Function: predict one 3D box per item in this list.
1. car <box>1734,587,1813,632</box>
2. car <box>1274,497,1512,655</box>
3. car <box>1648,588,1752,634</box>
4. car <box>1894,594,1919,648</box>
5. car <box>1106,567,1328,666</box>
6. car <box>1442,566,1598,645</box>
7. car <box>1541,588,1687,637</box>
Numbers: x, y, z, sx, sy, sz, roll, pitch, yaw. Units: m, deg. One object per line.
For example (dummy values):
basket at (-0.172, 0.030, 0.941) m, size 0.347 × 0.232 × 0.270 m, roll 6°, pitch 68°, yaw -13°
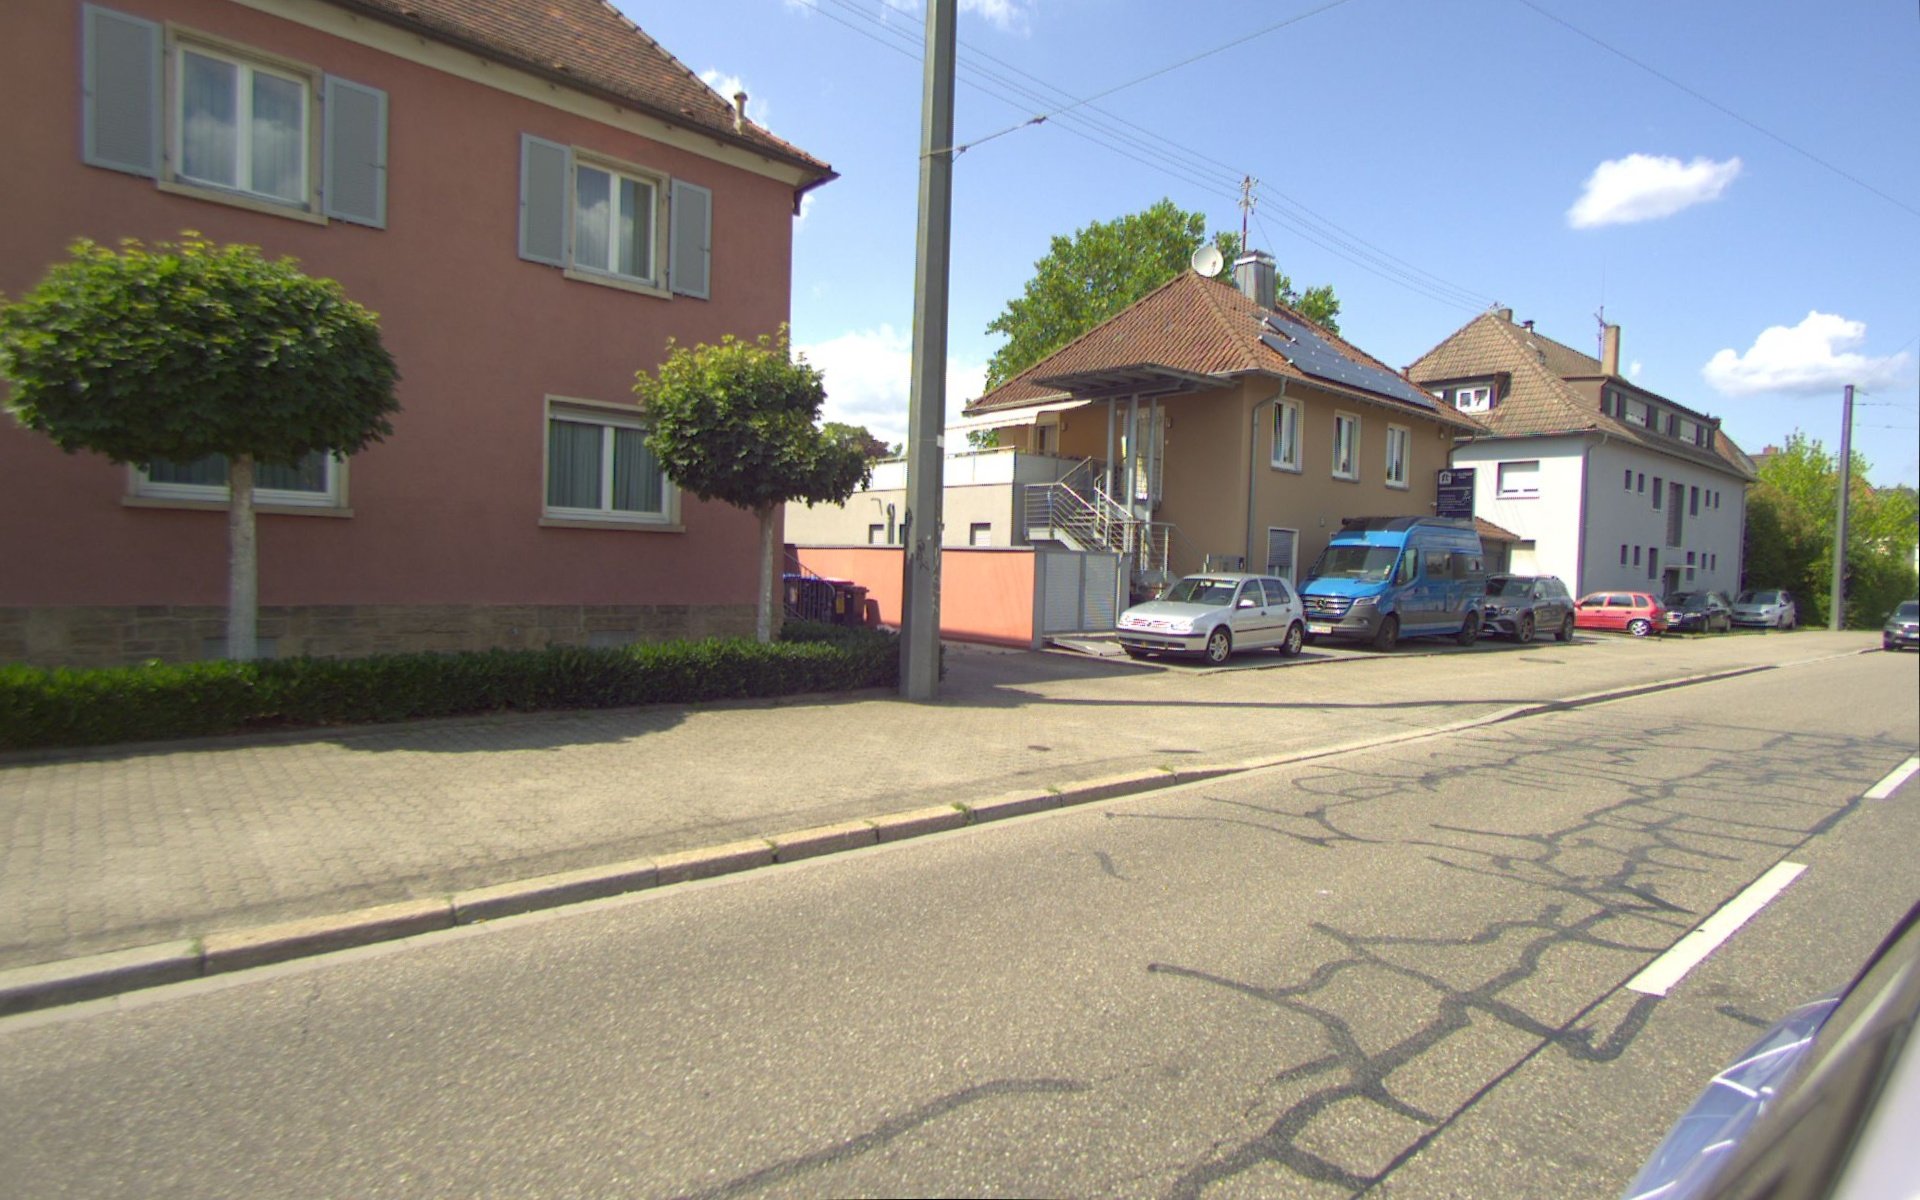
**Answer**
car at (33.825, 0.346, 42.020) m, size 4.687 × 1.667 × 1.760 m, roll 0°, pitch 4°, yaw -42°
car at (9.462, -0.495, 21.796) m, size 6.133 × 2.966 × 2.156 m, roll 0°, pitch 1°, yaw -40°
car at (26.240, 0.360, 35.837) m, size 4.771 × 1.441 × 1.803 m, roll 0°, pitch 3°, yaw -40°
car at (30.368, 0.626, 31.248) m, size 4.180 × 1.579 × 1.810 m, roll 0°, pitch 1°, yaw -41°
car at (4.462, 0.214, 17.196) m, size 4.279 × 1.426 × 1.651 m, roll 0°, pitch 3°, yaw -44°
car at (14.245, 0.121, 25.629) m, size 4.778 × 1.732 × 1.841 m, roll 1°, pitch 4°, yaw -41°
car at (21.253, 0.367, 32.972) m, size 1.697 × 1.397 × 3.656 m, roll -1°, pitch 3°, yaw -41°
